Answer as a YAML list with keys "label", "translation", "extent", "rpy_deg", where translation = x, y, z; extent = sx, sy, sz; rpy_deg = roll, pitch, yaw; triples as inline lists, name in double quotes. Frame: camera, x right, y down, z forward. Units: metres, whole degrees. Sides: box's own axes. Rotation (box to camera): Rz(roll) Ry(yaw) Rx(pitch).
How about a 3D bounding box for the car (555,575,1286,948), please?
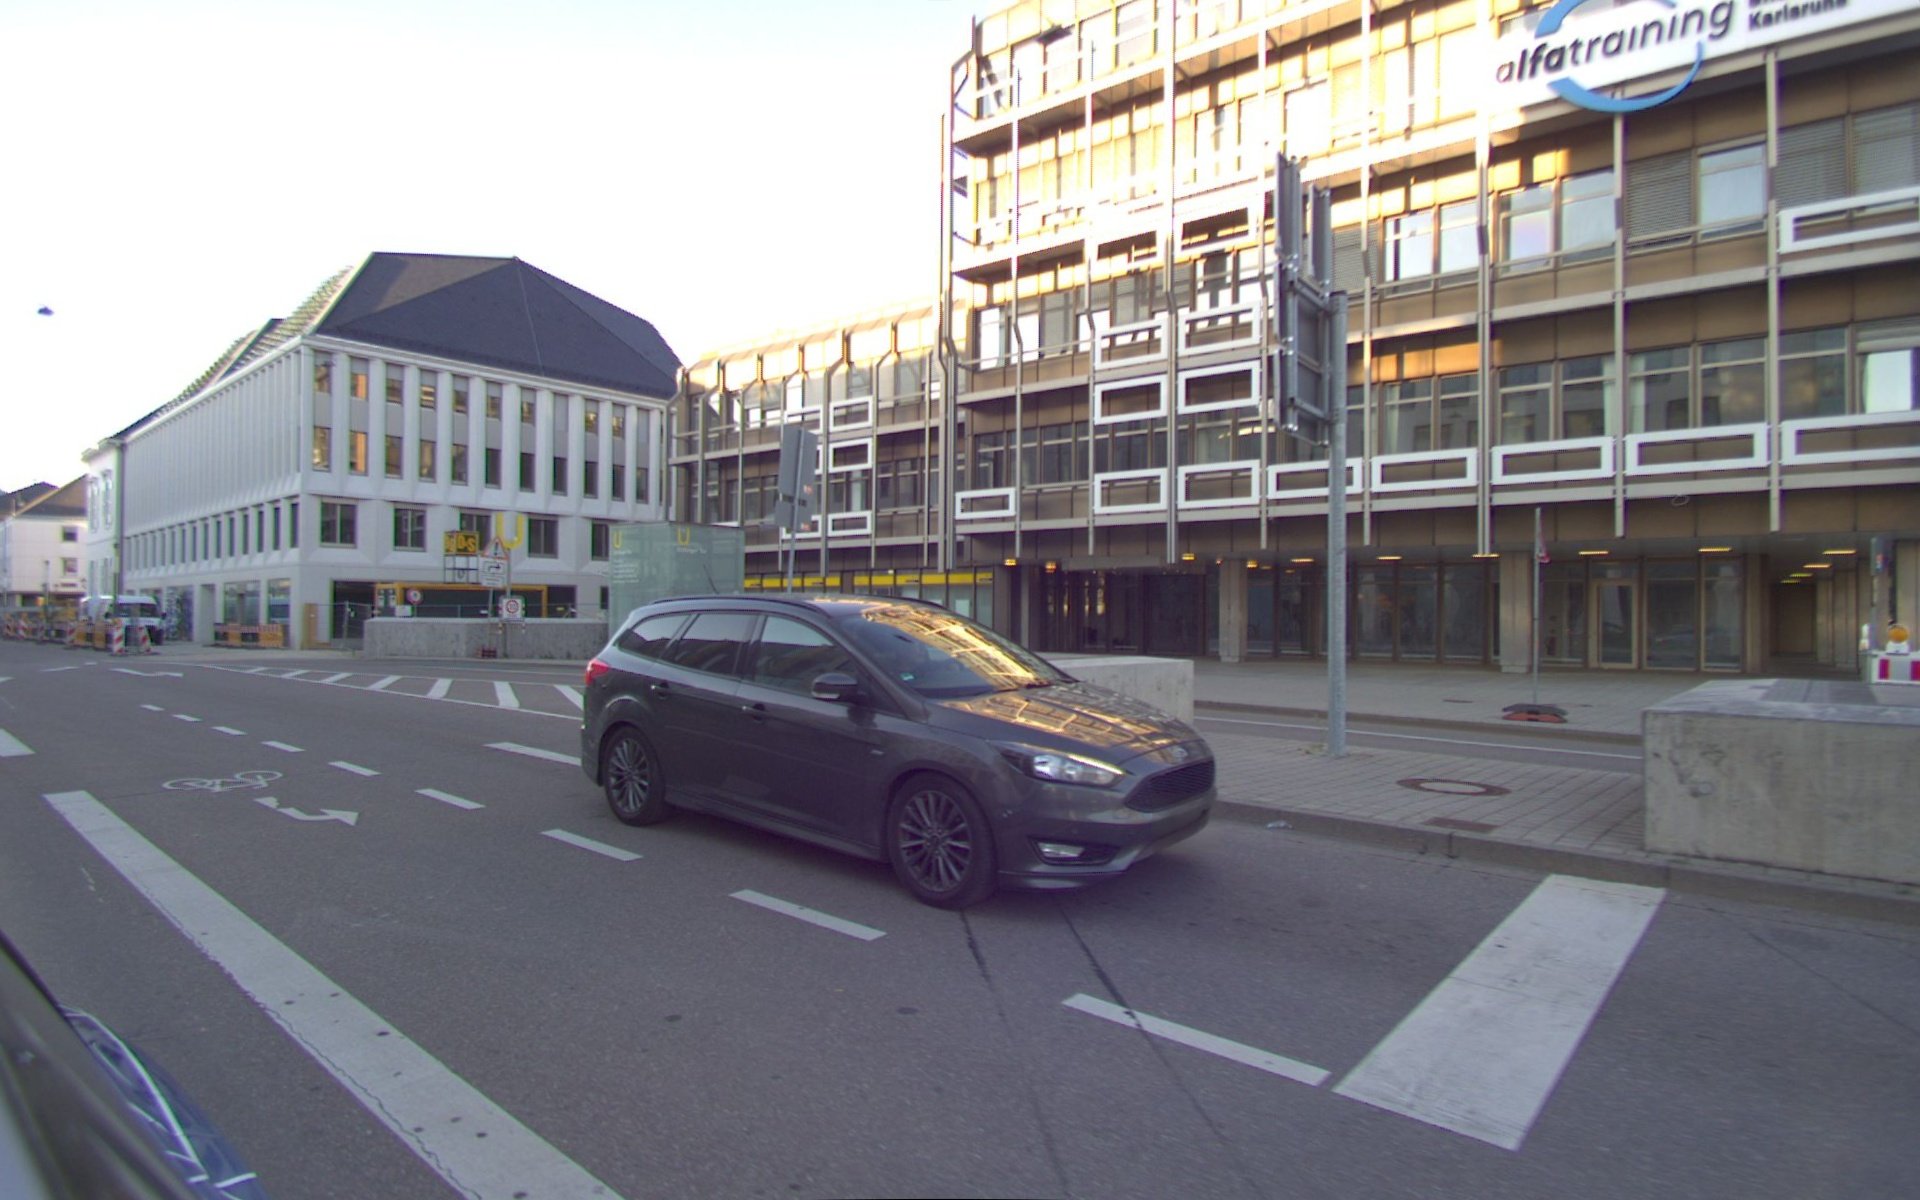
- label: "car"
  translation: [-0.510, 0.650, 6.086]
  extent: [4.377, 1.473, 1.740]
  rpy_deg: [-1, 0, 40]

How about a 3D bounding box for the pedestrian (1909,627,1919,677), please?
- label: "pedestrian"
  translation: [35.749, 1.926, 37.493]
  extent: [0.755, 1.819, 0.713]
  rpy_deg: [0, 1, 36]

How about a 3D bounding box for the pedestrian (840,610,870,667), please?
- label: "pedestrian"
  translation: [-3.035, 1.106, 29.293]
  extent: [0.583, 1.651, 0.662]
  rpy_deg: [-1, -2, 41]

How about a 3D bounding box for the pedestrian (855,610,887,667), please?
- label: "pedestrian"
  translation: [-2.610, 1.118, 29.780]
  extent: [0.702, 1.651, 0.608]
  rpy_deg: [-1, -2, 41]

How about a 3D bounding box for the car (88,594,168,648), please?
- label: "car"
  translation: [-41.701, 1.044, 50.671]
  extent: [6.047, 2.575, 2.114]
  rpy_deg: [-1, -2, 41]
